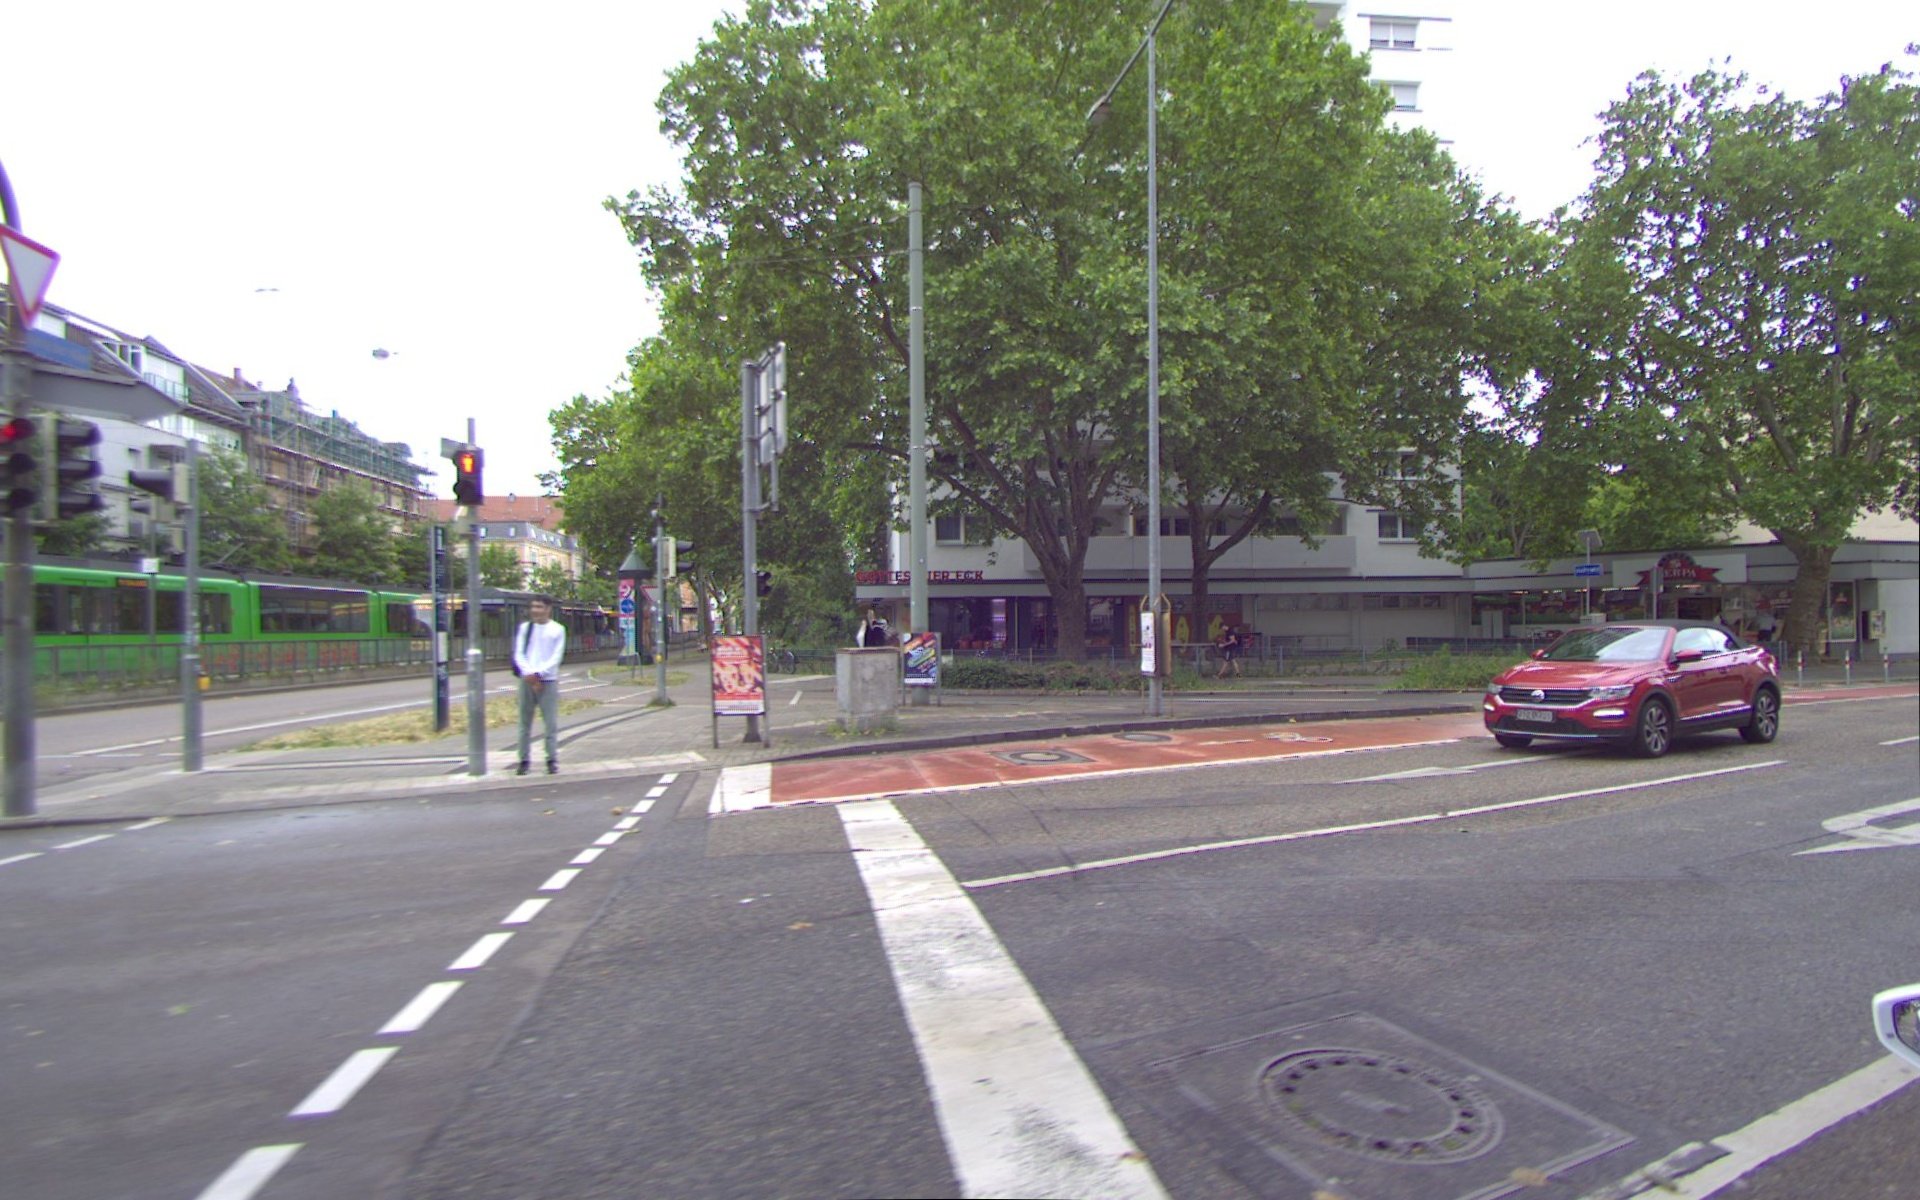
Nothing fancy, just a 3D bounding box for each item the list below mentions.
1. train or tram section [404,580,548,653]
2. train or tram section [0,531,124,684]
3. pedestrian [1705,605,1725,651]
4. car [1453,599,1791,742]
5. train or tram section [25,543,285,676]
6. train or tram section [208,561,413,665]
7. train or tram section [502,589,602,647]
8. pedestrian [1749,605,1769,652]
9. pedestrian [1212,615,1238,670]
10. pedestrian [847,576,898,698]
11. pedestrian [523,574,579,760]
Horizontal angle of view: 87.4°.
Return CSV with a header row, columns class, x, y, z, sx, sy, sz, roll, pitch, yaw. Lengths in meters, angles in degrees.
class,x,y,z,sx,sy,sz,roll,pitch,yaw
train or tram section,-25.032,0.914,52.905,2.574,3.342,13.003,-1,-1,-6
train or tram section,-25.259,0.214,25.476,2.635,3.811,7.256,-1,-1,-6
pedestrian,28.299,1.055,37.662,0.504,1.702,0.514,-2,-2,45
car,8.222,0.766,12.417,4.117,1.472,1.845,-1,-1,-30
train or tram section,-26.091,0.359,33.227,2.635,3.811,8.293,-1,-1,-6
train or tram section,-27.123,0.604,42.827,2.635,3.811,11.053,-1,-1,-6
train or tram section,-26.412,1.226,65.813,2.574,3.342,13.003,-1,-1,-6
pedestrian,29.317,1.031,36.841,0.510,1.702,0.508,-2,-2,43
pedestrian,7.657,1.230,29.040,0.611,1.565,0.421,-1,-1,-7
pedestrian,-1.334,0.550,15.255,0.611,1.808,0.573,0,-1,-21
pedestrian,-4.151,0.660,10.193,0.499,1.808,0.699,0,-1,-23
